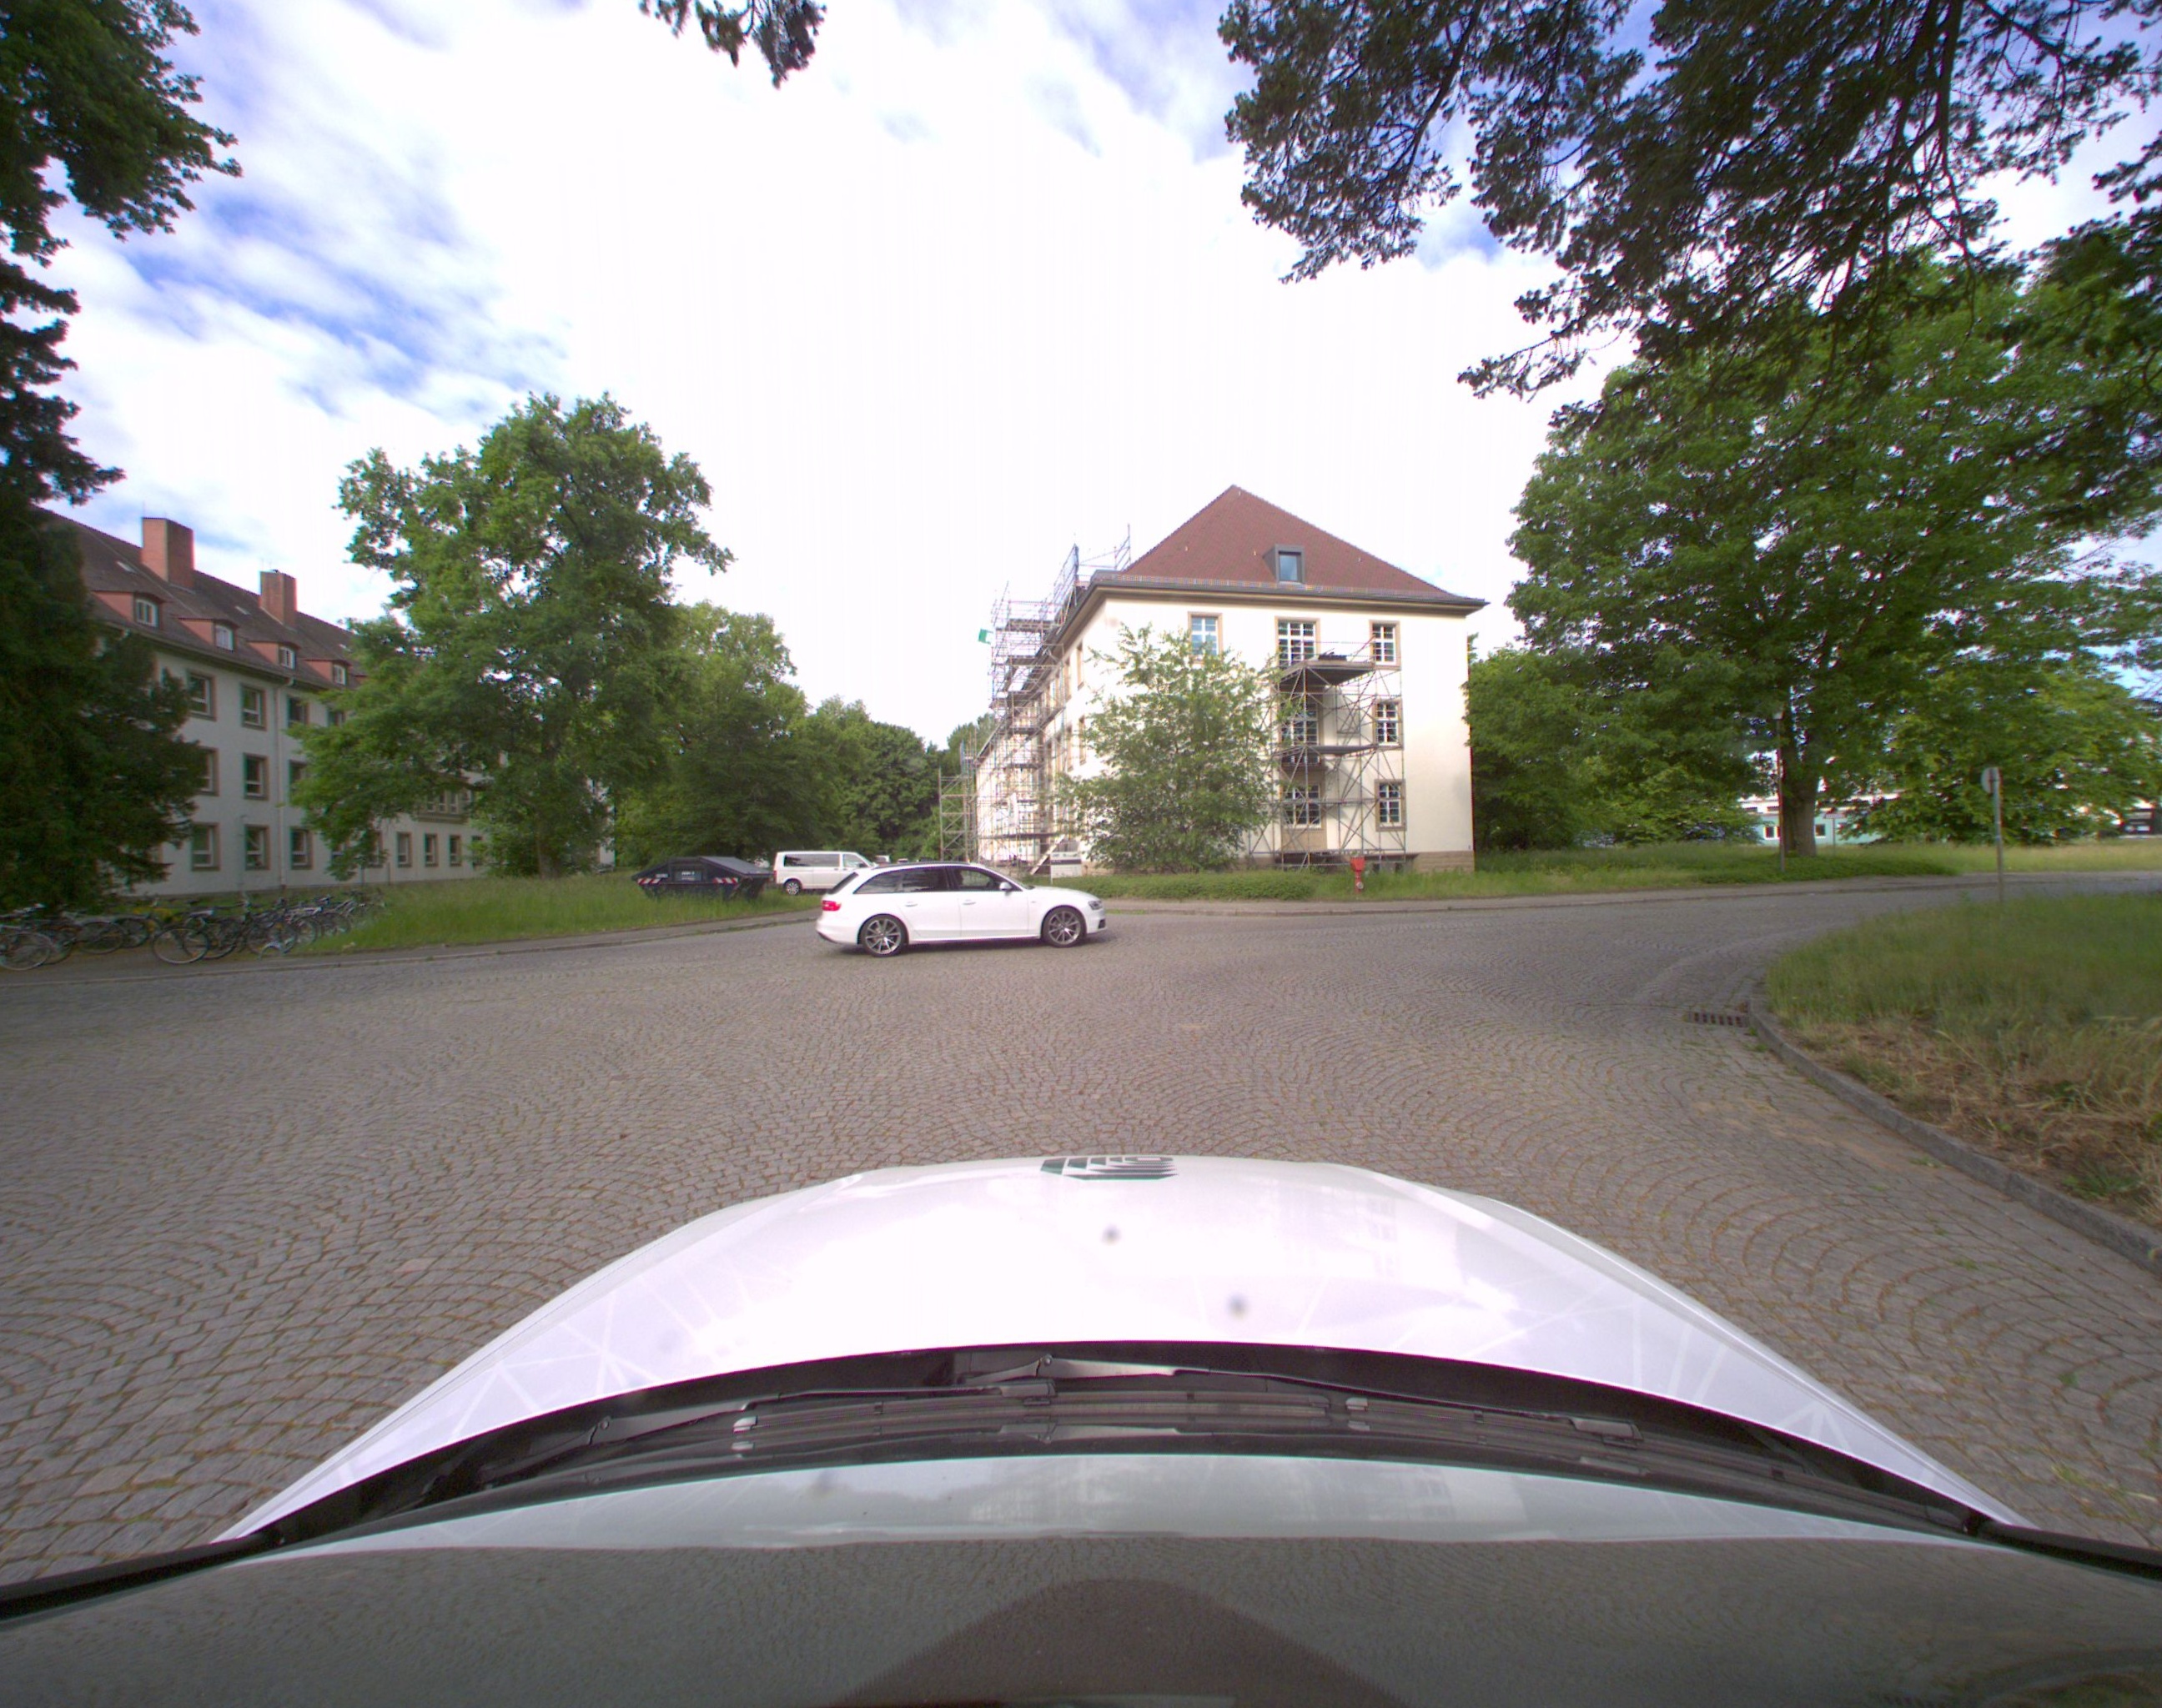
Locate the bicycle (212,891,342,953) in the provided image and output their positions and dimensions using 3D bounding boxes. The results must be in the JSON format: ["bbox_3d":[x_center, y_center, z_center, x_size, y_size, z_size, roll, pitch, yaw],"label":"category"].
[{"bbox_3d":[-17.111,1.432,17.393,1.805,1.103,0.696,-3,3,-31],"label":"bicycle"}]

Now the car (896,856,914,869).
[{"bbox_3d":[-22.120,1.061,102.165,2.004,1.548,3.938,1,-1,-15],"label":"car"}]

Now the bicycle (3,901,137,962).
[{"bbox_3d":[-20.806,1.576,16.802,1.639,1.073,0.533,-2,2,-42],"label":"bicycle"}]

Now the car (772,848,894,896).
[{"bbox_3d":[-11.256,0.799,37.340,5.206,2.060,2.178,0,-1,-13],"label":"car"}]

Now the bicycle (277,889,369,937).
[{"bbox_3d":[-19.587,1.500,21.090,1.627,1.058,0.521,-3,3,-31],"label":"bicycle"}]

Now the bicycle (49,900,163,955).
[{"bbox_3d":[-21.589,1.602,18.070,1.525,1.035,0.539,-2,2,-42],"label":"bicycle"}]

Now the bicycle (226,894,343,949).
[{"bbox_3d":[-17.538,1.464,17.991,1.702,1.001,0.626,-3,3,-31],"label":"bicycle"}]

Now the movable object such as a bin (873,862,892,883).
[{"bbox_3d":[-13.479,1.247,55.432,1.184,1.407,0.971,1,-2,-11],"label":"movable object such as a bin"}]

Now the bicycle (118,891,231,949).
[{"bbox_3d":[-21.242,1.518,19.130,1.652,1.185,0.568,-2,2,-38],"label":"bicycle"}]

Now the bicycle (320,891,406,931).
[{"bbox_3d":[-19.277,1.524,21.903,1.627,0.910,0.521,-3,3,-31],"label":"bicycle"}]

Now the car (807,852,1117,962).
[{"bbox_3d":[-1.918,0.777,13.400,4.696,1.437,1.847,-2,1,-13],"label":"car"}]

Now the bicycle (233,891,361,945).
[{"bbox_3d":[-17.942,1.437,18.698,1.967,1.004,0.680,-3,3,-31],"label":"bicycle"}]

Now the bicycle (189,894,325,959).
[{"bbox_3d":[-16.835,1.467,16.707,1.779,1.103,0.696,-3,3,-31],"label":"bicycle"}]

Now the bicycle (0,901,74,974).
[{"bbox_3d":[-19.819,1.537,14.706,1.908,1.222,0.637,-1,2,-31],"label":"bicycle"}]

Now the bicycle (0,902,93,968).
[{"bbox_3d":[-20.199,1.539,15.262,1.998,1.114,0.637,-1,2,-31],"label":"bicycle"}]

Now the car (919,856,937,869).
[{"bbox_3d":[-19.333,1.125,103.126,2.063,1.593,3.987,1,-1,-9],"label":"car"}]

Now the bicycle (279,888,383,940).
[{"bbox_3d":[-18.696,1.481,20.356,1.783,1.105,0.536,-3,3,-31],"label":"bicycle"}]

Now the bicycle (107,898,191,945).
[{"bbox_3d":[-22.950,1.652,20.082,1.267,1.029,0.429,-3,-2,-31],"label":"bicycle"}]

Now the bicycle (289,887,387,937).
[{"bbox_3d":[-18.965,1.462,20.831,1.708,1.116,0.536,-3,3,-31],"label":"bicycle"}]

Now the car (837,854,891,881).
[{"bbox_3d":[-17.019,1.065,63.991,3.995,2.014,1.911,1,-2,-16],"label":"car"}]

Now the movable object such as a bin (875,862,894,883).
[{"bbox_3d":[-13.654,1.272,56.608,1.184,1.407,0.971,1,-2,-11],"label":"movable object such as a bin"}]
